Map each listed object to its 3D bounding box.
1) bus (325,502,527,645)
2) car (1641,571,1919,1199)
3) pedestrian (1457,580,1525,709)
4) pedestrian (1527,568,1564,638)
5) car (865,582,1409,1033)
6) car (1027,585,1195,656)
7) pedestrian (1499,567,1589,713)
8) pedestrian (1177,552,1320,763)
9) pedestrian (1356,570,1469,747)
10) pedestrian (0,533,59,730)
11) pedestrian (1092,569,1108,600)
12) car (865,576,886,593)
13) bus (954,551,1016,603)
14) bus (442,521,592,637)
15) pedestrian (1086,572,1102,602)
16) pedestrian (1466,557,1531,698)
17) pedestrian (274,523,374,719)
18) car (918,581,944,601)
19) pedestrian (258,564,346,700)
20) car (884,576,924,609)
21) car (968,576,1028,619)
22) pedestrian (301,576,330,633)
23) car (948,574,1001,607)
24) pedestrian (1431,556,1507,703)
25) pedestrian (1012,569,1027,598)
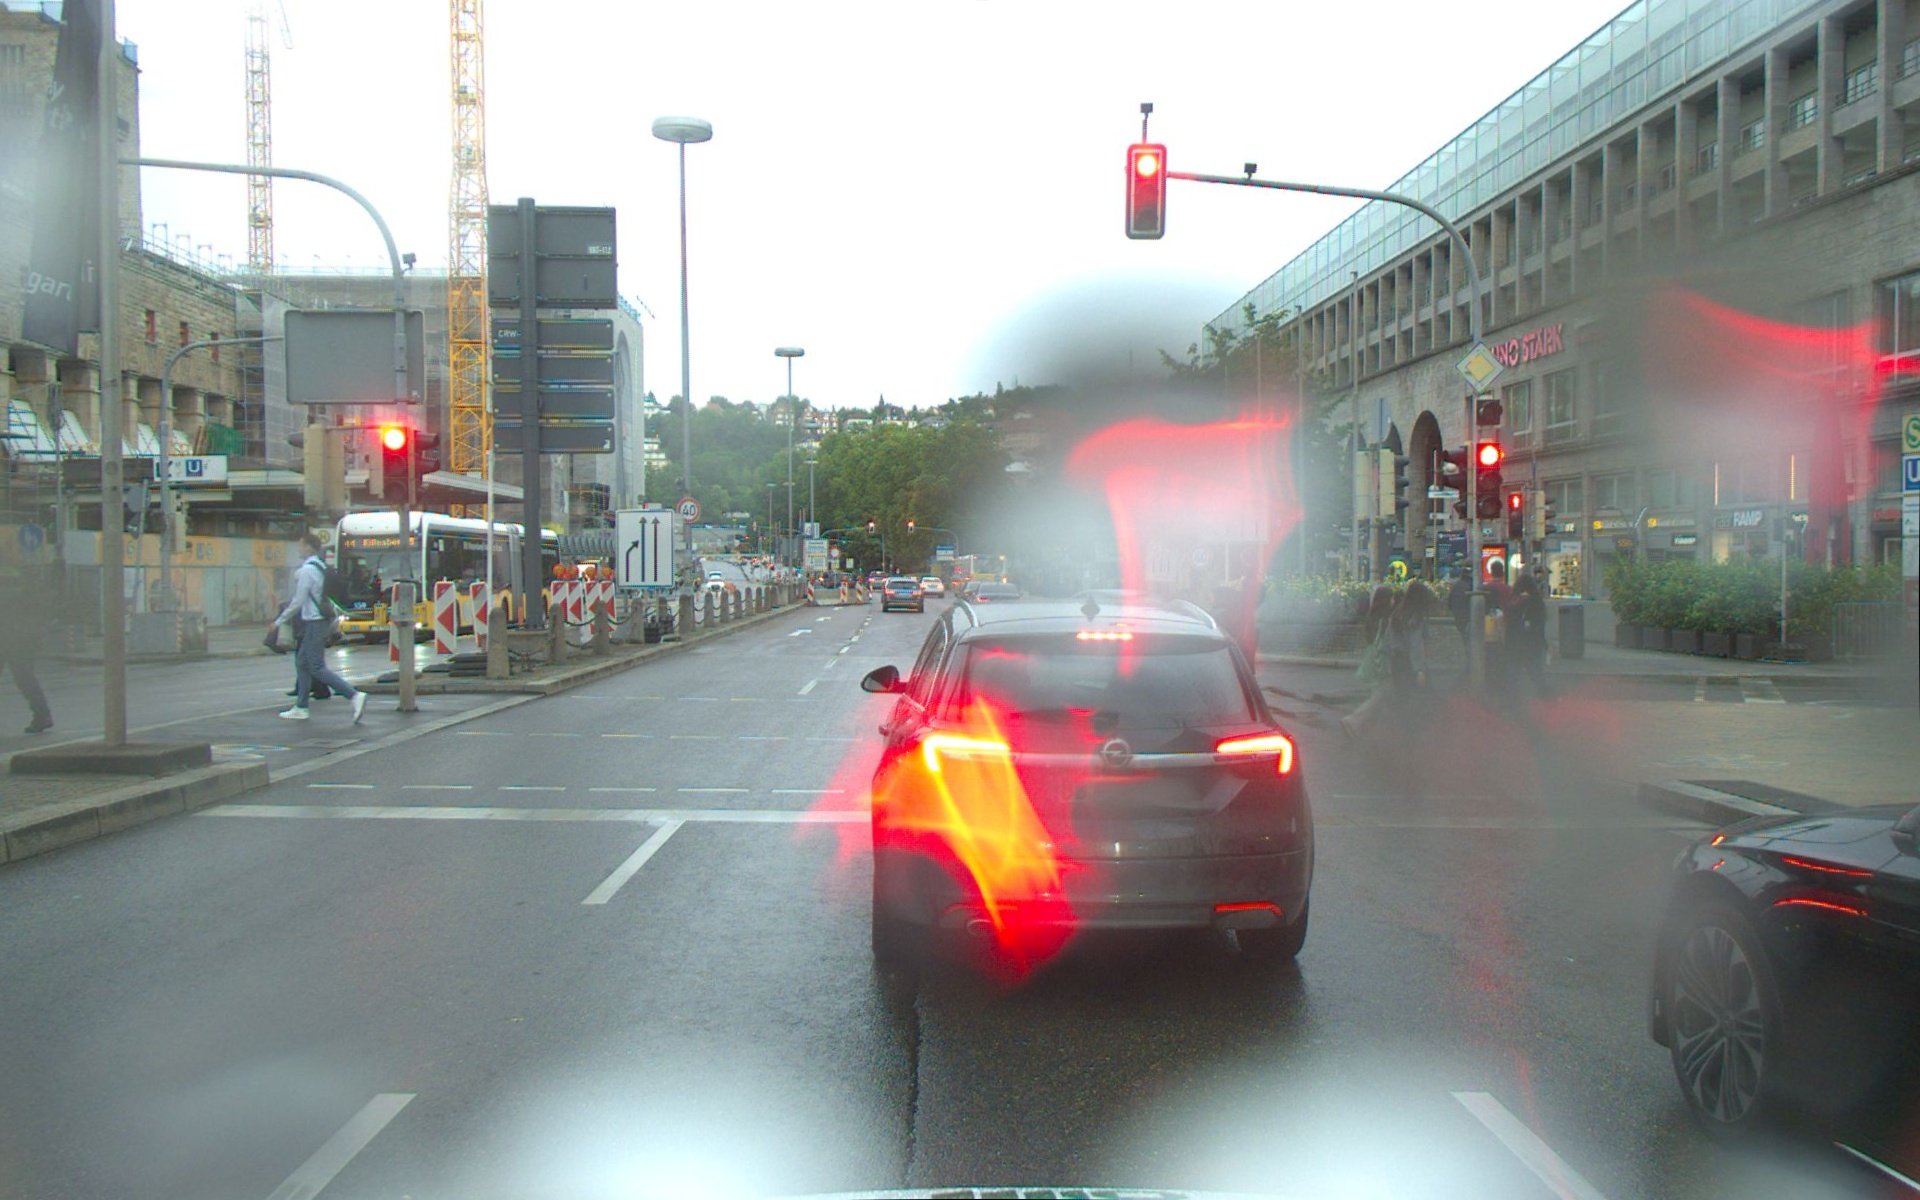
[{"bbox_3d":[-15.214,-0.679,48.125,2.614,3.665,10.237,1,0,-1],"label":"bus"},{"bbox_3d":[3.035,0.716,2.790,1.757,1.528,4.627,1,0,-1],"label":"car"},{"bbox_3d":[6.275,0.521,19.559,0.665,1.500,0.366,1,0,-6],"label":"pedestrian"},{"bbox_3d":[17.285,0.086,48.815,0.751,2.049,0.820,1,0,41],"label":"pedestrian"},{"bbox_3d":[0.566,0.713,7.641,1.837,1.512,3.999,1,0,-1],"label":"car"},{"bbox_3d":[3.140,0.410,35.005,1.825,1.422,3.632,1,0,-29],"label":"car"},{"bbox_3d":[6.704,0.450,19.010,0.783,1.636,0.619,1,0,-5],"label":"pedestrian"},{"bbox_3d":[2.535,0.493,14.609,1.074,1.782,0.653,-2,0,-4],"label":"pedestrian"},{"bbox_3d":[4.373,0.554,16.039,0.778,1.654,0.899,1,0,-4],"label":"pedestrian"},{"bbox_3d":[-9.288,0.294,16.084,0.566,1.868,0.819,1,0,-1],"label":"pedestrian"},{"bbox_3d":[8.003,-0.872,94.365,0.748,1.720,0.824,1,0,-5],"label":"pedestrian"},{"bbox_3d":[-7.672,-1.409,149.872,1.723,1.422,3.563,1,0,-1],"label":"car"},{"bbox_3d":[1.694,-1.569,120.924,4.089,3.529,14.651,1,0,-1],"label":"bus"},{"bbox_3d":[-15.373,-0.671,58.308,2.614,3.665,10.209,1,0,-1],"label":"bus"},{"bbox_3d":[7.732,-0.740,95.492,0.748,1.720,0.824,1,0,-5],"label":"pedestrian"},{"bbox_3d":[6.965,0.350,21.385,0.560,1.783,0.676,1,0,42],"label":"pedestrian"},{"bbox_3d":[-6.379,0.210,16.614,0.784,1.923,0.619,1,0,-9],"label":"pedestrian"},{"bbox_3d":[-2.086,-0.632,119.550,1.808,1.422,3.563,1,0,-1],"label":"car"},{"bbox_3d":[-7.876,0.376,19.835,0.858,1.588,0.784,1,0,-15],"label":"pedestrian"},{"bbox_3d":[-2.507,-0.325,73.868,1.718,1.422,4.536,1,0,-2],"label":"car"},{"bbox_3d":[1.291,-0.082,57.940,1.718,1.422,4.645,1,0,-3],"label":"car"},{"bbox_3d":[-21.815,0.149,56.002,0.648,1.887,0.798,0,0,-1],"label":"pedestrian"},{"bbox_3d":[0.632,-0.442,75.097,1.721,1.422,4.393,1,0,-9],"label":"car"},{"bbox_3d":[6.178,0.355,20.088,0.740,1.747,0.466,1,0,-5],"label":"pedestrian"},{"bbox_3d":[5.021,-1.392,140.272,1.174,2.478,1.228,1,0,0],"label":"pedestrian"}]
